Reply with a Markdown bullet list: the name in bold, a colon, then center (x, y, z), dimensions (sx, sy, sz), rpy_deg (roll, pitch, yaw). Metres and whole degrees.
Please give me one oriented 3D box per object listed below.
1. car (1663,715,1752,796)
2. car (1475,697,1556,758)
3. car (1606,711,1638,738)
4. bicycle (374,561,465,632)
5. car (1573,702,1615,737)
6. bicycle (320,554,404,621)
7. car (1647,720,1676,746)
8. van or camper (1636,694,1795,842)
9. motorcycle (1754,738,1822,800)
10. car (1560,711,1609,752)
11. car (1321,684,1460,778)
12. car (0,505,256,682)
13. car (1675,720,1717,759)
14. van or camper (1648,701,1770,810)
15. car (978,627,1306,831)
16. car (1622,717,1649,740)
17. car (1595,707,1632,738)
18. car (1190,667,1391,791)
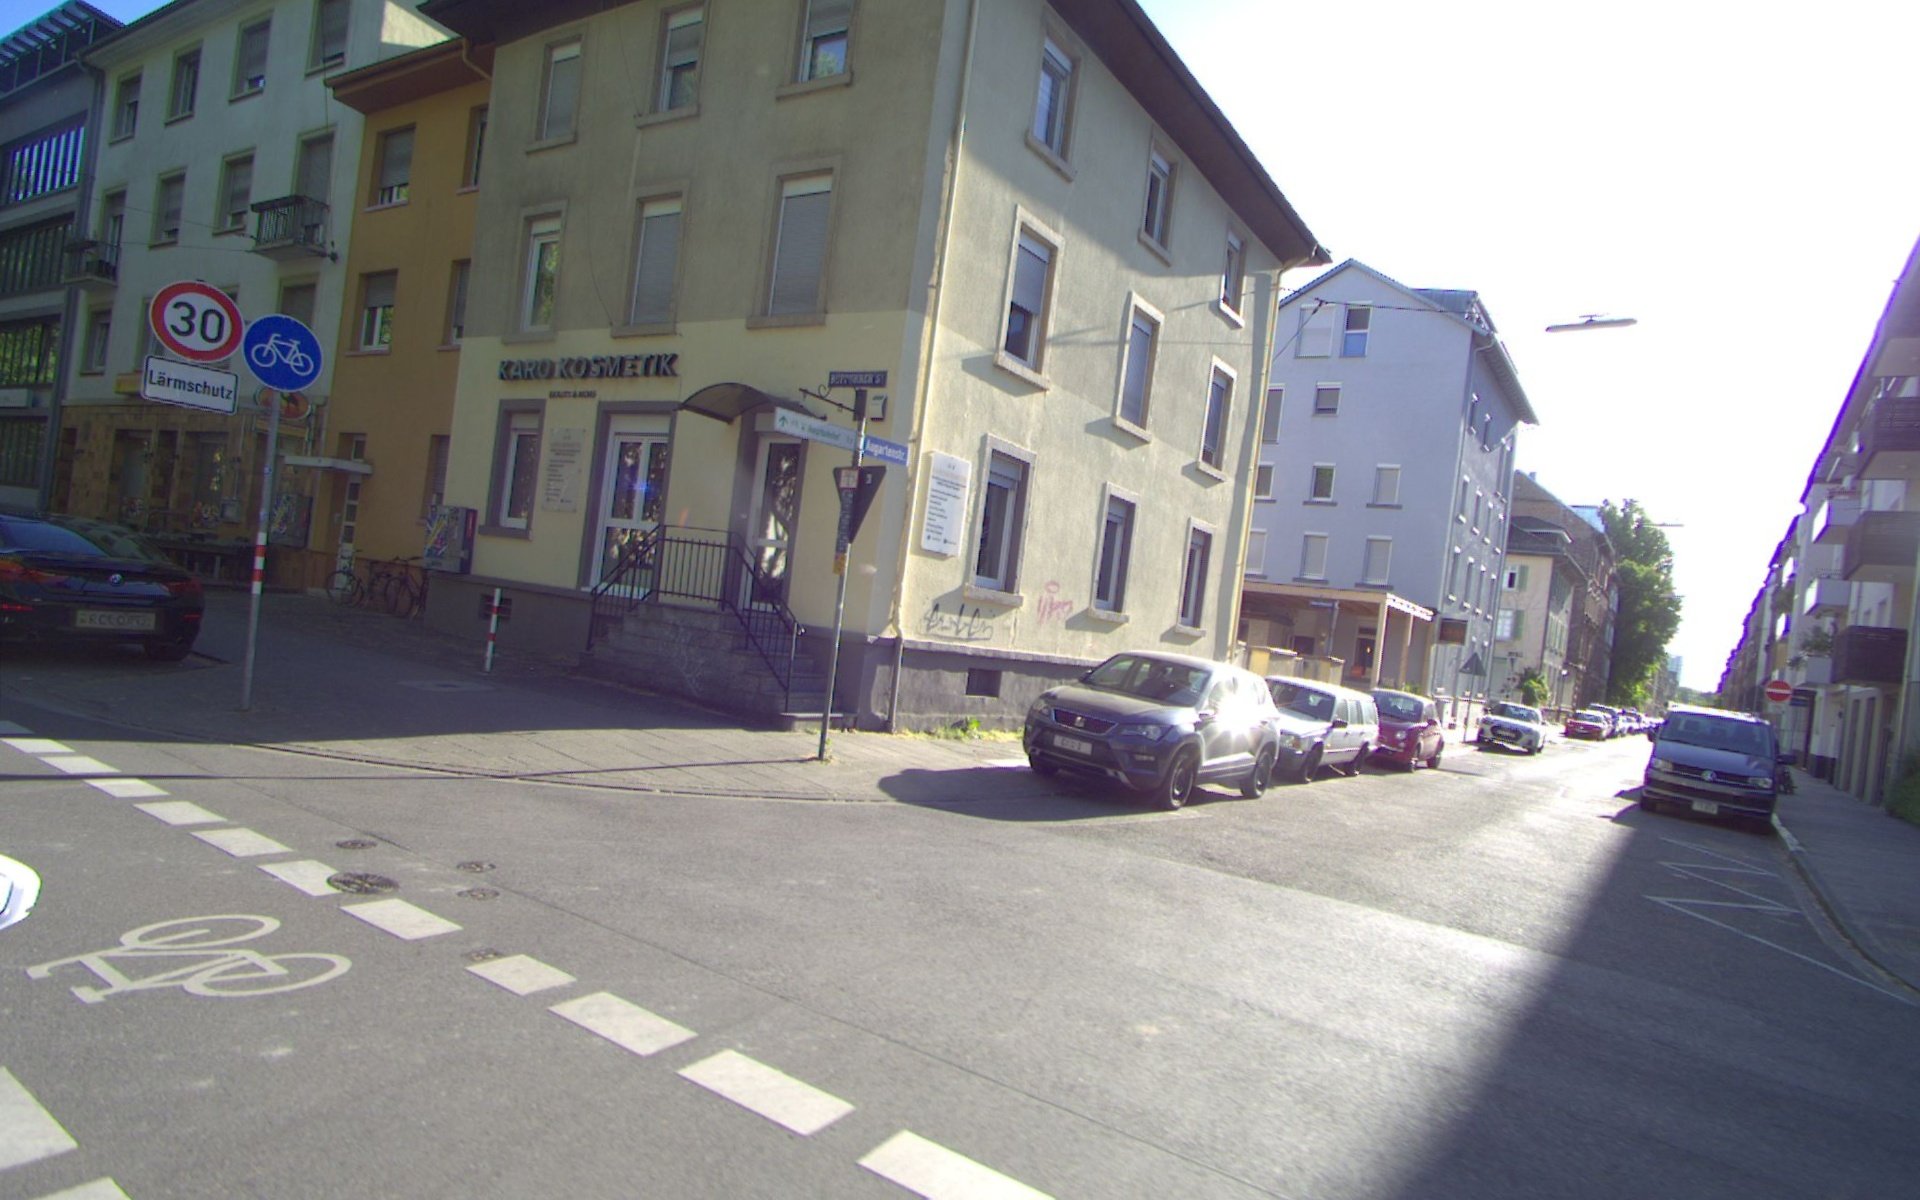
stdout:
- **car**: center (21.303, 4.386, 28.766), dimensions (1.734, 1.879, 3.643), rpy_deg (8, -1, 36)
- **car**: center (18.513, 4.228, 33.458), dimensions (1.679, 1.592, 4.188), rpy_deg (10, 0, 36)
- **car**: center (57.675, 10.858, 87.588), dimensions (1.933, 1.950, 4.188), rpy_deg (10, 0, 36)
- **bicycle**: center (-9.349, -0.067, 17.377), dimensions (1.827, 1.009, 0.427), rpy_deg (7, -1, 32)
- **car**: center (43.609, 8.227, 69.173), dimensions (1.933, 1.950, 4.188), rpy_deg (10, 0, 36)
- **bicycle**: center (-10.945, -0.244, 18.393), dimensions (1.827, 1.009, 0.427), rpy_deg (7, -1, 32)
- **car**: center (65.022, 12.346, 93.249), dimensions (1.933, 1.950, 4.188), rpy_deg (10, 0, 36)
- **van or camper**: center (13.871, 3.004, 18.639), dimensions (1.900, 2.088, 4.586), rpy_deg (8, -1, 36)
- **motorcycle**: center (22.815, 4.618, 27.787), dimensions (1.081, 1.425, 3.135), rpy_deg (7, -2, 36)
- **car**: center (34.173, 7.174, 54.999), dimensions (1.765, 1.775, 4.188), rpy_deg (10, 0, 36)
- **car**: center (9.217, 2.751, 21.346), dimensions (1.679, 1.493, 4.188), rpy_deg (10, 0, 36)
- **car**: center (-9.581, -0.201, 10.438), dimensions (4.661, 1.398, 1.995), rpy_deg (7, 1, 32)
- **car**: center (43.238, 8.181, 59.157), dimensions (1.734, 1.879, 3.643), rpy_deg (8, -1, 36)
- **van or camper**: center (17.524, 3.587, 23.679), dimensions (1.900, 2.005, 4.586), rpy_deg (8, -1, 36)
- **car**: center (2.342, 1.463, 11.851), dimensions (1.873, 1.659, 4.452), rpy_deg (10, 0, 36)
- **car**: center (70.210, 13.362, 104.509), dimensions (1.933, 1.950, 4.188), rpy_deg (10, 0, 36)
- **car**: center (49.870, 9.367, 76.764), dimensions (1.933, 1.950, 4.188), rpy_deg (10, 0, 36)
- **car**: center (5.723, 2.156, 16.977), dimensions (1.679, 1.513, 4.811), rpy_deg (10, 0, 36)
